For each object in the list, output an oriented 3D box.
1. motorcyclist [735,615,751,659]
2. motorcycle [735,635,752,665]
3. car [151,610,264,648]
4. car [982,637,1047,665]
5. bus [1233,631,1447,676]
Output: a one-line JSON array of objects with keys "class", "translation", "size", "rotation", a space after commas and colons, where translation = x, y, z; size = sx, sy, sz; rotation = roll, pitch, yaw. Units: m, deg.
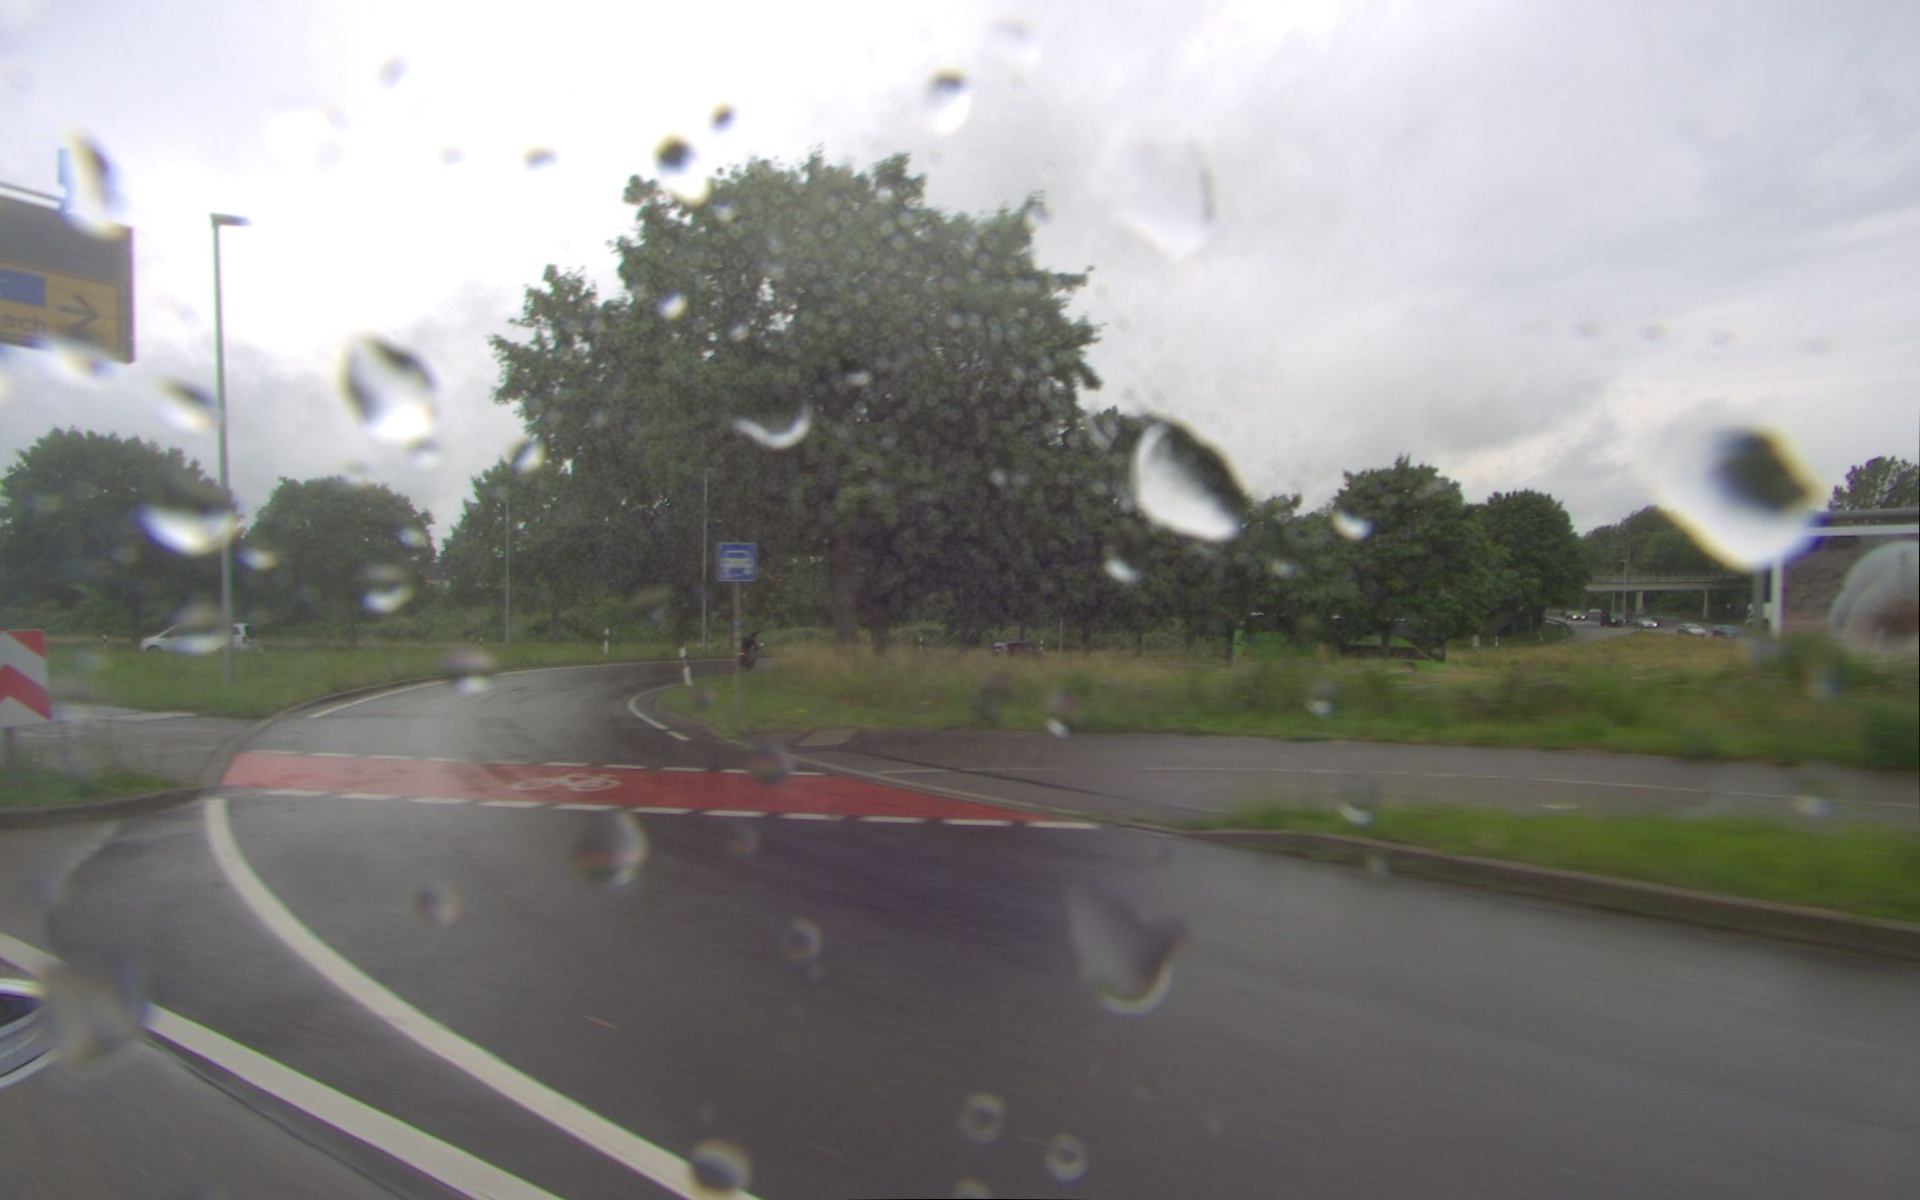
[{"class": "motorcyclist", "translation": [-8.619, 1.456, 39.845], "size": [0.592, 1.712, 0.859], "rotation": [-1, 1, -11]}, {"class": "motorcycle", "translation": [-8.623, 1.960, 39.873], "size": [0.592, 1.108, 1.730], "rotation": [-1, 0, -11]}, {"class": "car", "translation": [-40.731, 1.554, 54.335], "size": [4.534, 2.000, 2.059], "rotation": [0, -1, -24]}, {"class": "car", "translation": [3.392, 3.126, 62.418], "size": [3.960, 1.639, 1.843], "rotation": [1, -1, -43]}, {"class": "bus", "translation": [26.411, 3.670, 69.778], "size": [14.311, 2.715, 2.762], "rotation": [-1, 0, -7]}]
